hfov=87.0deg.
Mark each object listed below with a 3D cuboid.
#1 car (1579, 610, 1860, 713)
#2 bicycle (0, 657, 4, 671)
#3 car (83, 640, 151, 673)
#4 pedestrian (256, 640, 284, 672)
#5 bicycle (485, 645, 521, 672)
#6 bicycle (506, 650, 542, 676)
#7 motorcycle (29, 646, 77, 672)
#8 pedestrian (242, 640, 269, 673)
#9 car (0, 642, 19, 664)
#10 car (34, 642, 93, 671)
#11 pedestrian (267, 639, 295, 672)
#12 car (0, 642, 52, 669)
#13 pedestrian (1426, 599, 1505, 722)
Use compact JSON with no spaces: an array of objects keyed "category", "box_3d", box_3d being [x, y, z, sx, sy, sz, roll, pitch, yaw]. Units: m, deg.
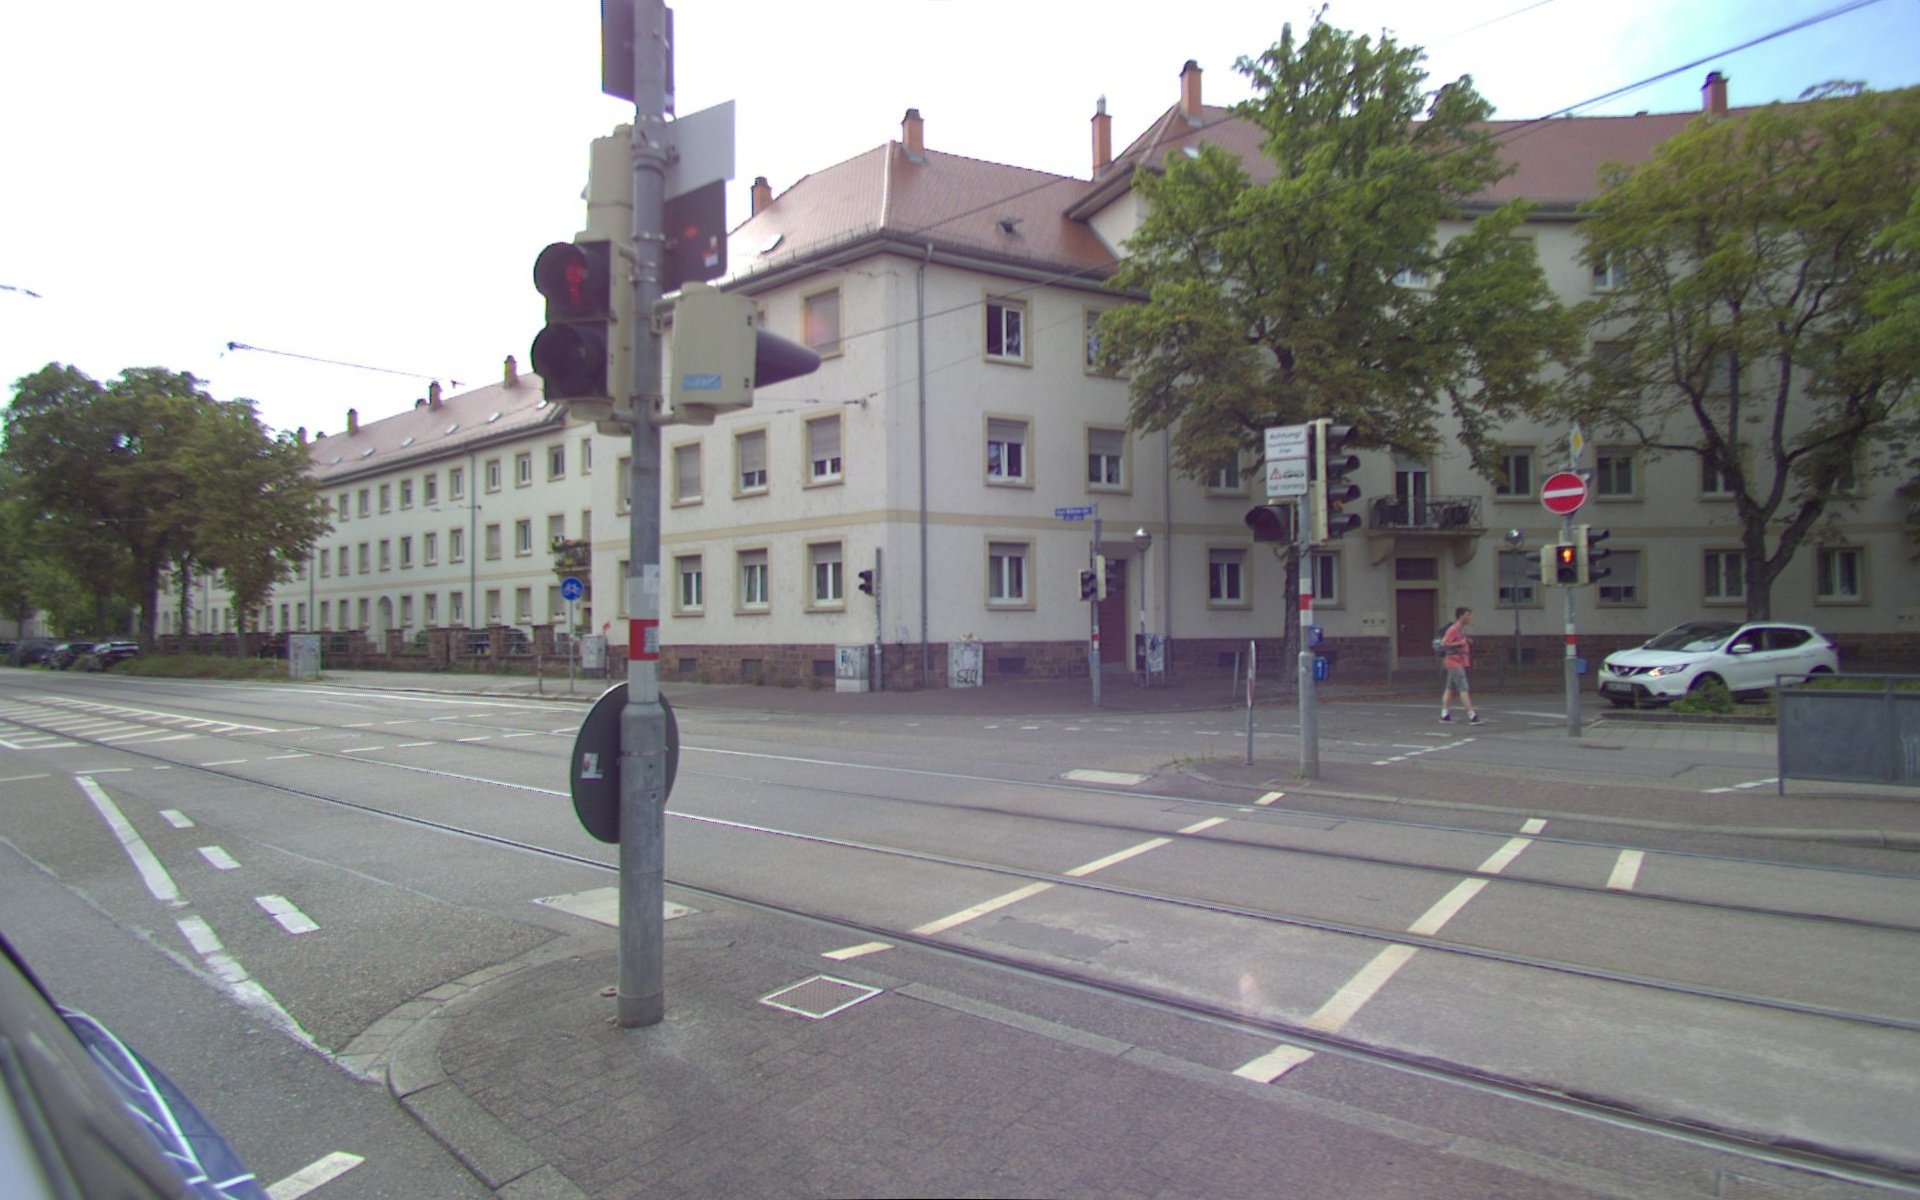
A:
[{"category":"car","box_3d":[13.863,1.110,18.561,4.091,1.734,1.845,2,-1,-11]},{"category":"bicycle","box_3d":[-67.911,4.478,70.614,0.670,0.978,1.655,-2,-2,29]},{"category":"car","box_3d":[-41.640,2.772,49.966,4.294,1.434,1.680,-3,0,38]},{"category":"pedestrian","box_3d":[-31.766,2.575,46.578,0.730,1.476,0.826,-2,-3,33]},{"category":"bicycle","box_3d":[-16.308,2.095,36.132,1.670,0.922,0.473,-3,-3,39]},{"category":"bicycle","box_3d":[-15.986,2.318,37.101,1.670,0.922,0.473,-3,-3,39]},{"category":"motorcycle","box_3d":[-51.198,3.315,57.154,0.590,1.269,1.851,-2,3,34]},{"category":"pedestrian","box_3d":[-33.163,2.633,47.627,0.730,1.524,0.826,-2,-3,33]},{"category":"car","box_3d":[-64.513,3.553,67.571,4.291,1.482,1.681,-2,-3,36]},{"category":"car","box_3d":[-48.348,3.058,54.573,4.294,1.434,1.680,-3,-1,38]},{"category":"pedestrian","box_3d":[-30.816,2.524,45.905,0.730,1.476,0.826,-2,-3,33]},{"category":"car","box_3d":[-57.088,3.380,61.808,4.294,1.624,1.768,-3,-3,38]},{"category":"pedestrian","box_3d":[8.167,0.960,16.368,0.720,1.915,0.837,1,-3,-33]}]
